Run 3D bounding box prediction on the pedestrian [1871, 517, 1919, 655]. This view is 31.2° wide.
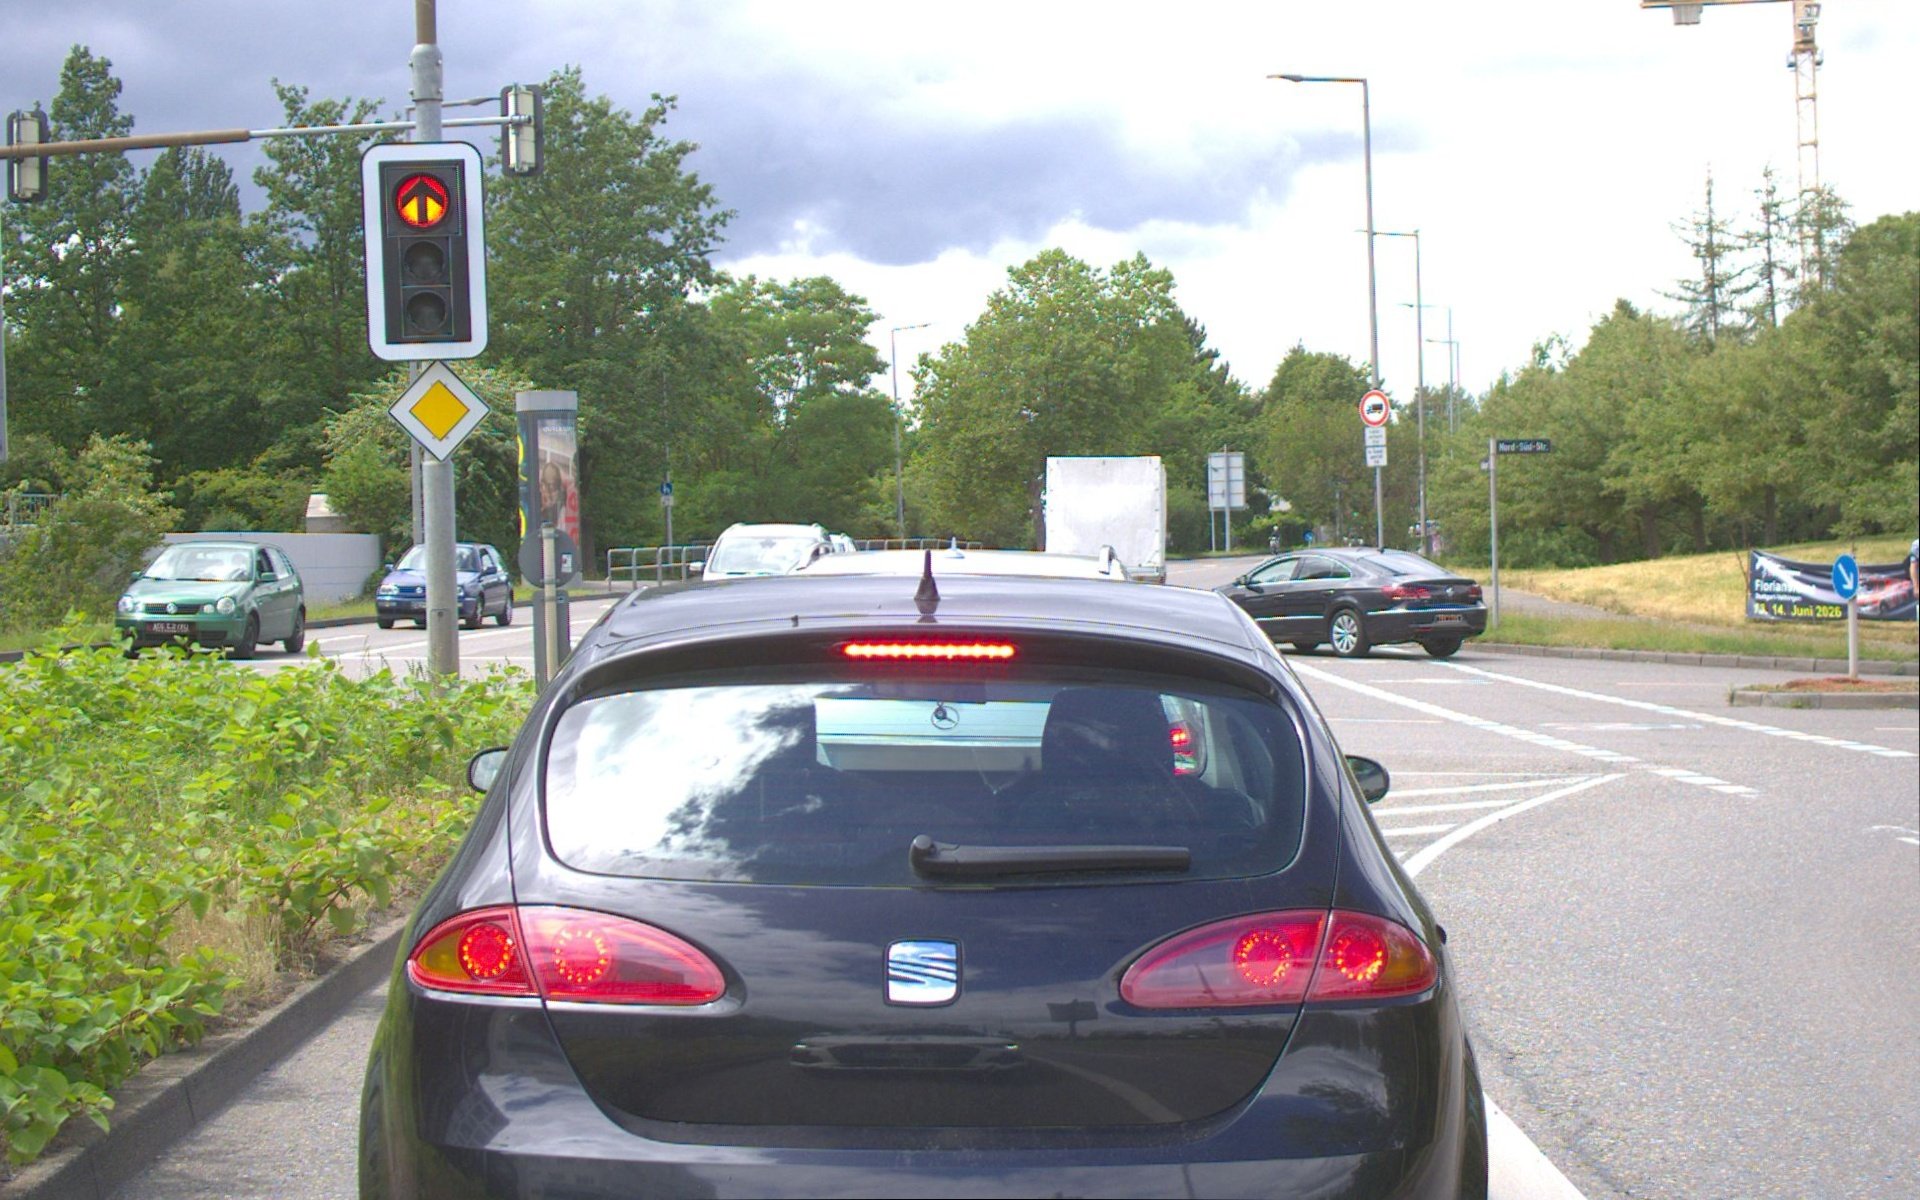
[{"bbox_3d":[12.569,-0.180,45.088,0.718,1.786,1.044,1,0,-20],"label":"pedestrian"}]

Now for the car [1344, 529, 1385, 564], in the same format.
[{"bbox_3d":[19.193,-2.522,163.026,1.668,1.590,3.998,1,1,10],"label":"car"}]

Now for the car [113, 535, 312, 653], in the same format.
[{"bbox_3d":[-9.411,-0.109,43.544,1.605,1.427,3.752,0,1,2],"label":"car"}]

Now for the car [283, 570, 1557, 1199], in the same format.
[{"bbox_3d":[-0.071,0.679,6.370,1.711,1.412,3.459,1,1,0],"label":"car"}]

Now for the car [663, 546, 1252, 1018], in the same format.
[{"bbox_3d":[0.012,0.554,12.710,1.834,1.462,3.751,1,1,1],"label":"car"}]

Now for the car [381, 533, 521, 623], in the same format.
[{"bbox_3d":[-8.439,-0.392,57.253,1.554,1.414,3.895,0,1,3],"label":"car"}]

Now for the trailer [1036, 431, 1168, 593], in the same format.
[{"bbox_3d":[2.859,-1.711,68.439,2.491,3.063,5.586,1,1,3],"label":"trailer"}]

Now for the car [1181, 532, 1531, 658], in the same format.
[{"bbox_3d":[5.153,-0.111,45.257,1.994,1.560,4.469,-1,2,-39],"label":"car"}]

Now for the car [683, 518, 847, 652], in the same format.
[{"bbox_3d":[-2.569,-0.246,46.208,1.820,1.681,4.645,1,1,1],"label":"car"}]

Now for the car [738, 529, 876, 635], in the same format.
[{"bbox_3d":[-2.287,-0.300,52.286,1.660,1.513,4.084,1,1,4],"label":"car"}]
